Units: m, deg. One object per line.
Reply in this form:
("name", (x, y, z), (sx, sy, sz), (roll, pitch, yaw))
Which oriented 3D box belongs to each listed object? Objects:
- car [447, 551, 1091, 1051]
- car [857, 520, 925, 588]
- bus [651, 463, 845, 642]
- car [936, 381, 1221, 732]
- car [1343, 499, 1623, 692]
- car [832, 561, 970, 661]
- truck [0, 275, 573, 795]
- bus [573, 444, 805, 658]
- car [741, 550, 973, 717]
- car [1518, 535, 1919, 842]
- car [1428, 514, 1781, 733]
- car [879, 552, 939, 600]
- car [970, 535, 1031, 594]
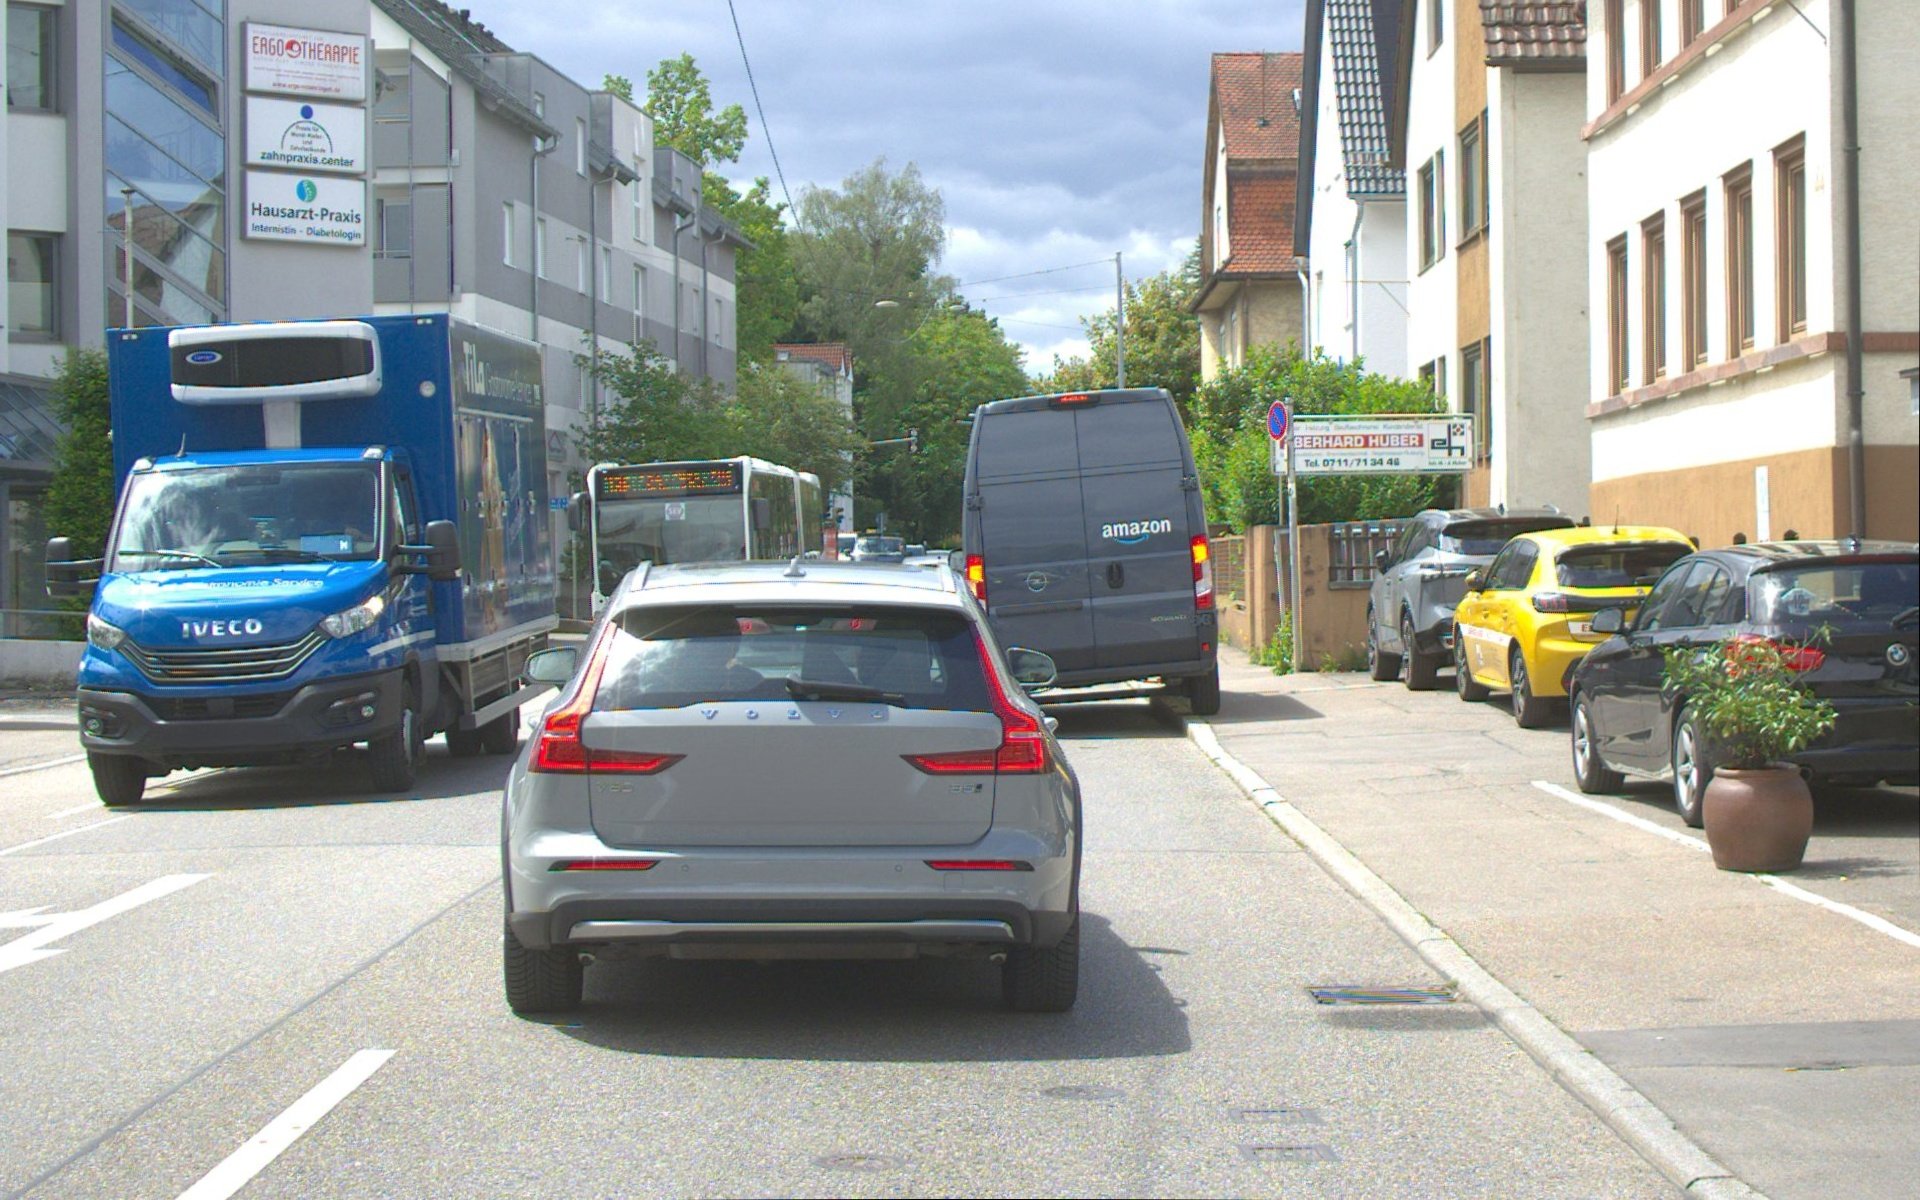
("car", (-0.496, 0.565, 12.165), (1.896, 1.448, 3.968), (1, 1, 2))
("car", (-2.292, -1.536, 114.908), (2.105, 2.114, 4.765), (-2, 1, 0))
("bus", (-3.916, -0.894, 65.321), (2.716, 3.153, 8.068), (-1, 1, 3))
("car", (1.068, -0.388, 30.358), (2.253, 2.786, 5.569), (-1, 1, 3))
("car", (4.772, -0.079, 31.986), (1.860, 1.606, 4.586), (-2, 1, 0))
("car", (-0.873, 0.141, 53.187), (1.896, 1.441, 3.968), (0, 1, 2))
("truck", (-4.715, -0.435, 24.613), (2.853, 3.082, 8.089), (-1, 1, 1))
("bus", (-4.260, -0.794, 56.247), (2.682, 3.153, 10.184), (-1, 1, 2))
("car", (-0.899, 0.266, 32.243), (1.896, 1.441, 3.968), (1, 1, 2))
("car", (4.453, 0.382, 18.697), (1.968, 1.442, 4.536), (-1, 1, -1))
("car", (4.989, 0.118, 27.196), (1.877, 1.442, 4.308), (-1, 3, -1))
("car", (-1.832, -0.898, 125.163), (2.105, 1.704, 4.766), (-1, 1, 0))
("car", (1.424, -1.245, 119.772), (1.994, 2.007, 4.000), (0, 1, 2))
